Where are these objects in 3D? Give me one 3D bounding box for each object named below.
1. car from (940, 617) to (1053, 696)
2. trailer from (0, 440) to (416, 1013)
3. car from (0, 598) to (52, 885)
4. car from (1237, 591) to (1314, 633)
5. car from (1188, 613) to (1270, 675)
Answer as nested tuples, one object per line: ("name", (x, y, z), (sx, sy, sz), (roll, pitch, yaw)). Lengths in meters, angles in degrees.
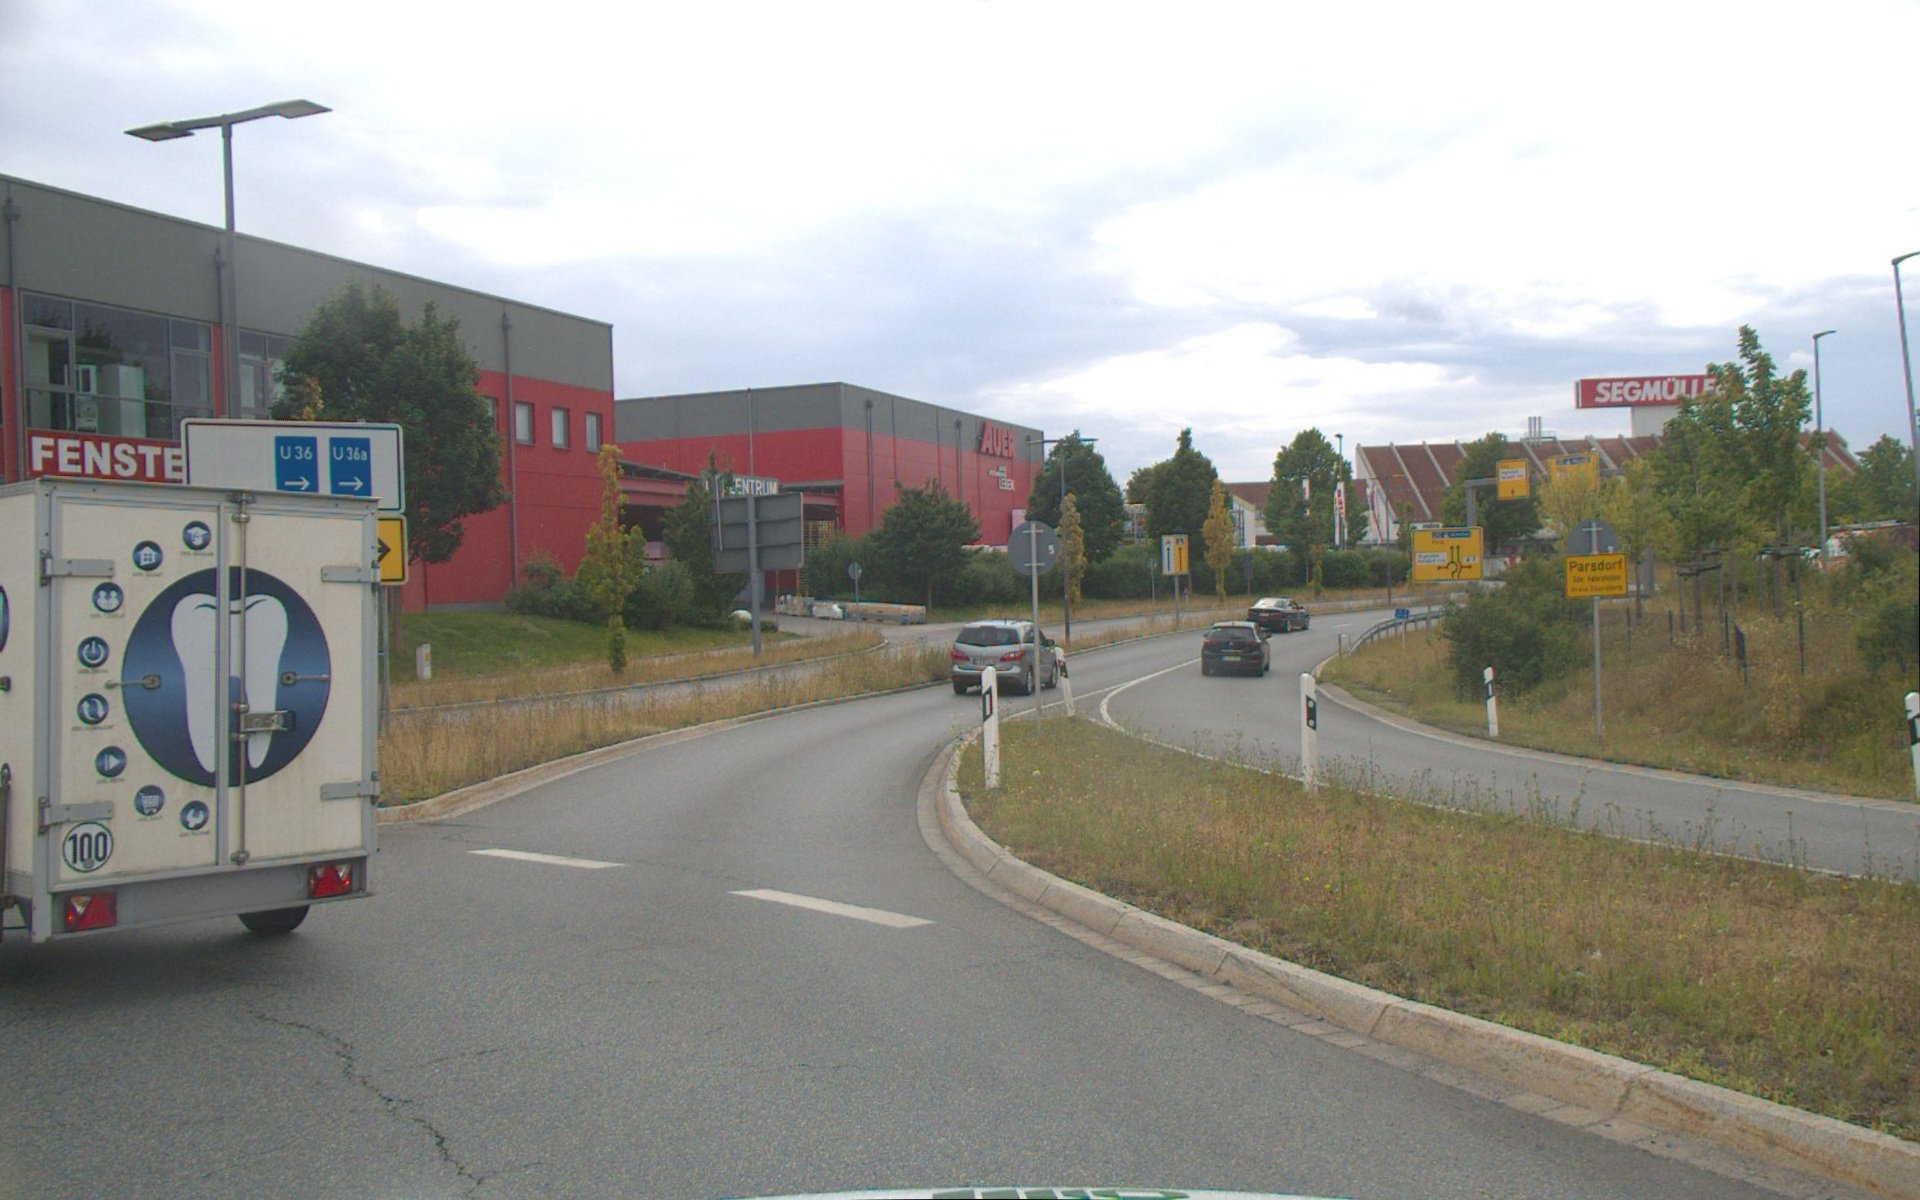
("car", (0.891, 1.229, 37.391), (1.729, 1.645, 3.924), (-1, 0, 14))
("trailer", (-4.570, 0.495, 8.113), (4.070, 2.128, 1.802), (-1, -1, 41))
("car", (-7.937, 0.935, 10.412), (4.515, 1.699, 1.813), (-3, -1, 30))
("car", (13.027, 0.474, 68.211), (1.871, 1.646, 3.992), (-1, -1, 31))
("car", (7.536, 1.185, 46.113), (1.829, 1.633, 3.737), (0, 0, 16))
